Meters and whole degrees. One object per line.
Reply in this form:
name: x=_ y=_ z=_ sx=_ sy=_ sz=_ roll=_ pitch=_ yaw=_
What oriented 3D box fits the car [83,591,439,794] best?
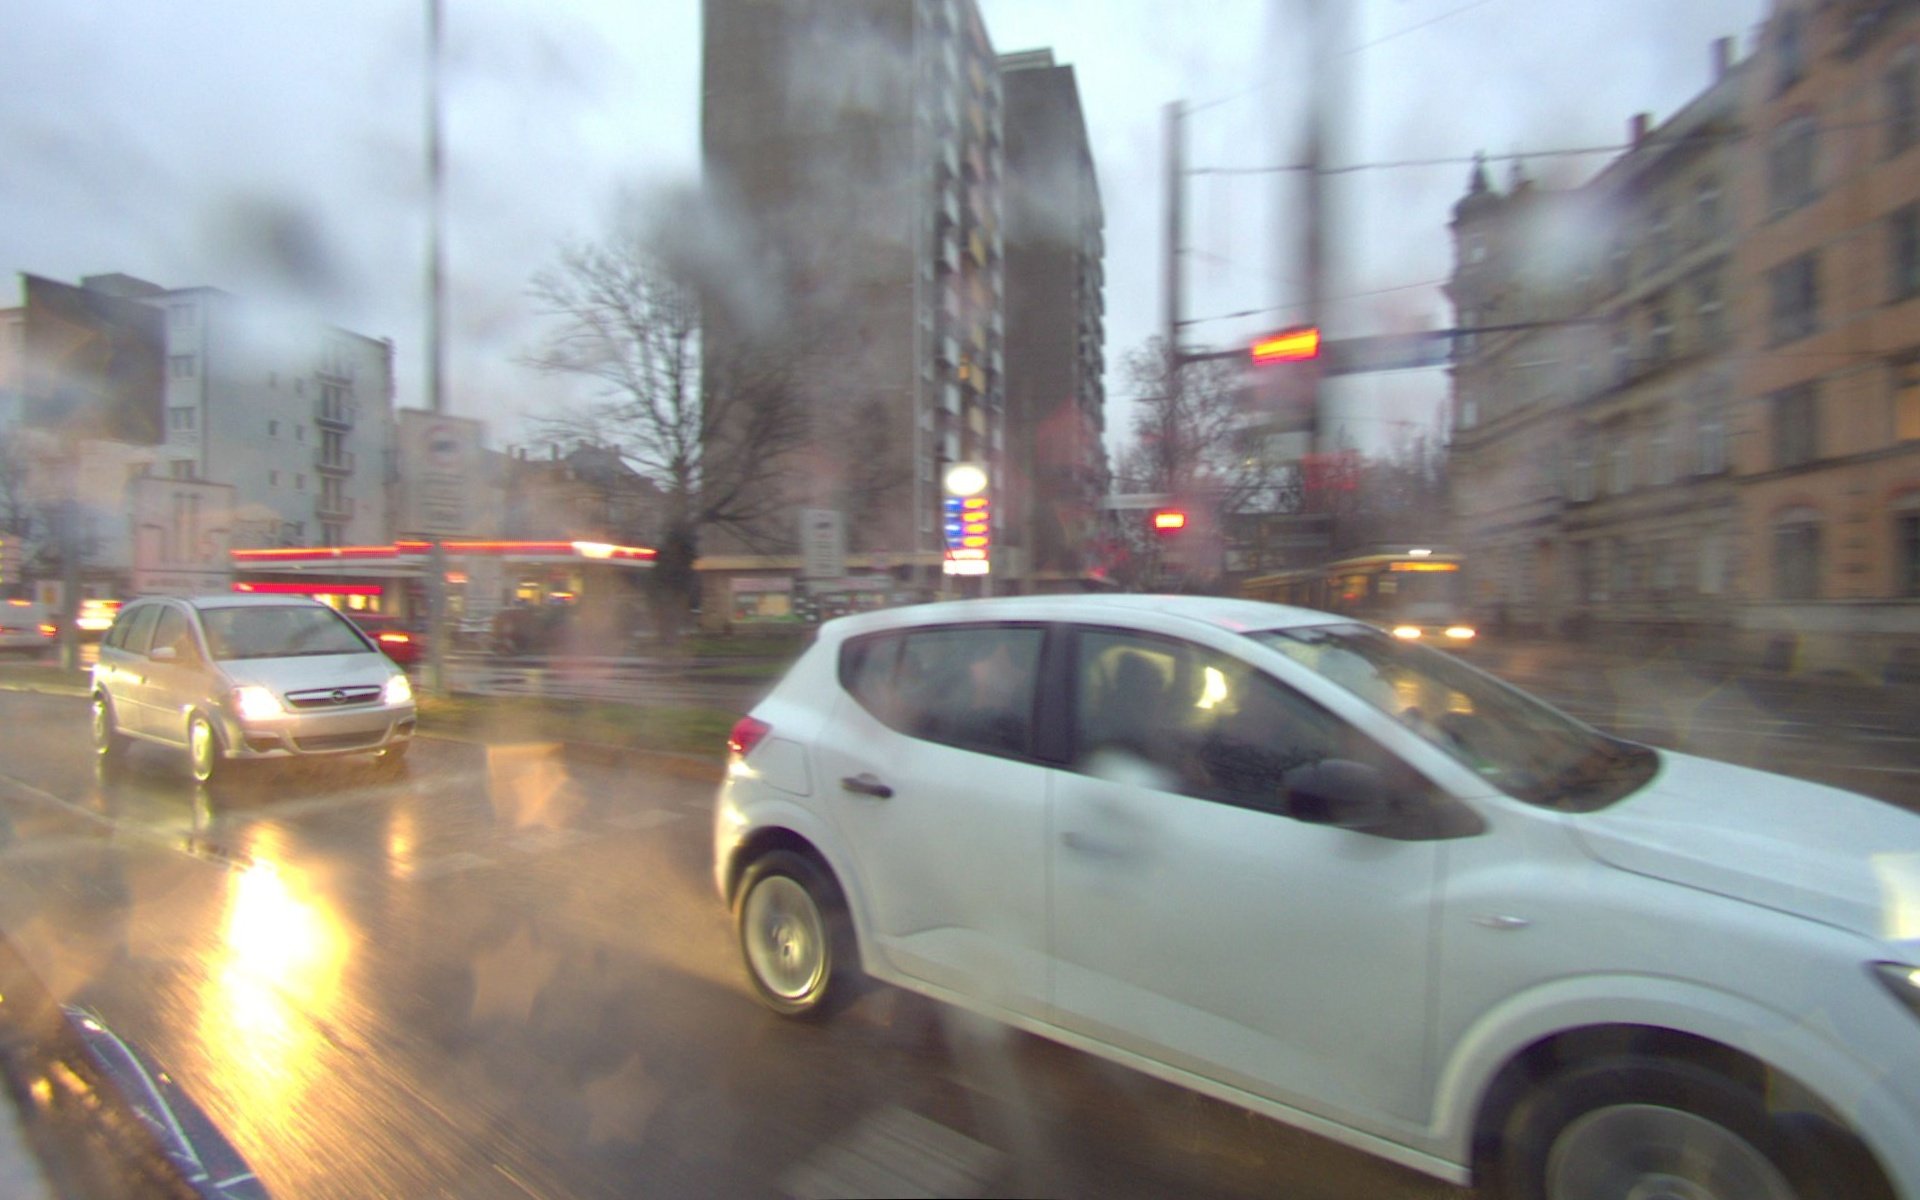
car: x=-6.794 y=0.729 z=9.685 sx=4.103 sy=1.560 sz=1.630 roll=-1 pitch=0 yaw=37

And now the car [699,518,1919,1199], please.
car: x=1.065 y=0.653 z=3.088 sx=3.997 sy=1.498 sz=1.610 roll=-2 pitch=-2 yaw=40

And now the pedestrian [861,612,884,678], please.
pedestrian: x=-2.442 y=1.239 z=28.268 sx=0.525 sy=1.806 sz=0.627 roll=-1 pitch=0 yaw=4

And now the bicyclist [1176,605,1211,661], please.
bicyclist: x=6.072 y=0.843 z=26.363 sx=0.498 sy=1.401 sz=0.971 roll=-1 pitch=0 yaw=-11

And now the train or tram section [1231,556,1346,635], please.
train or tram section: x=15.267 y=-0.245 z=48.019 sx=3.132 sy=3.262 sz=11.126 roll=-1 pitch=1 yaw=7

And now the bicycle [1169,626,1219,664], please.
bicycle: x=6.076 y=1.144 z=26.366 sx=0.498 sy=0.907 sz=1.989 roll=-1 pitch=0 yaw=-11

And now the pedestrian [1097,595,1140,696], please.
pedestrian: x=2.852 y=0.808 z=18.245 sx=0.628 sy=1.785 sz=0.462 roll=0 pitch=0 yaw=38

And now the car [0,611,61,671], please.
car: x=-33.568 y=1.406 z=34.666 sx=4.816 sy=1.961 sz=1.987 roll=0 pitch=-3 yaw=19

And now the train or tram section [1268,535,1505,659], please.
train or tram section: x=13.547 y=-0.152 z=34.435 sx=3.132 sy=3.212 sz=16.272 roll=-1 pitch=1 yaw=7

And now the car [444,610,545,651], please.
car: x=-18.805 y=1.206 z=41.076 sx=1.760 sy=1.542 sz=3.987 roll=0 pitch=-1 yaw=10

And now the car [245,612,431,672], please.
car: x=-15.982 y=1.060 z=26.150 sx=3.793 sy=1.460 sz=1.651 roll=0 pitch=0 yaw=-4
